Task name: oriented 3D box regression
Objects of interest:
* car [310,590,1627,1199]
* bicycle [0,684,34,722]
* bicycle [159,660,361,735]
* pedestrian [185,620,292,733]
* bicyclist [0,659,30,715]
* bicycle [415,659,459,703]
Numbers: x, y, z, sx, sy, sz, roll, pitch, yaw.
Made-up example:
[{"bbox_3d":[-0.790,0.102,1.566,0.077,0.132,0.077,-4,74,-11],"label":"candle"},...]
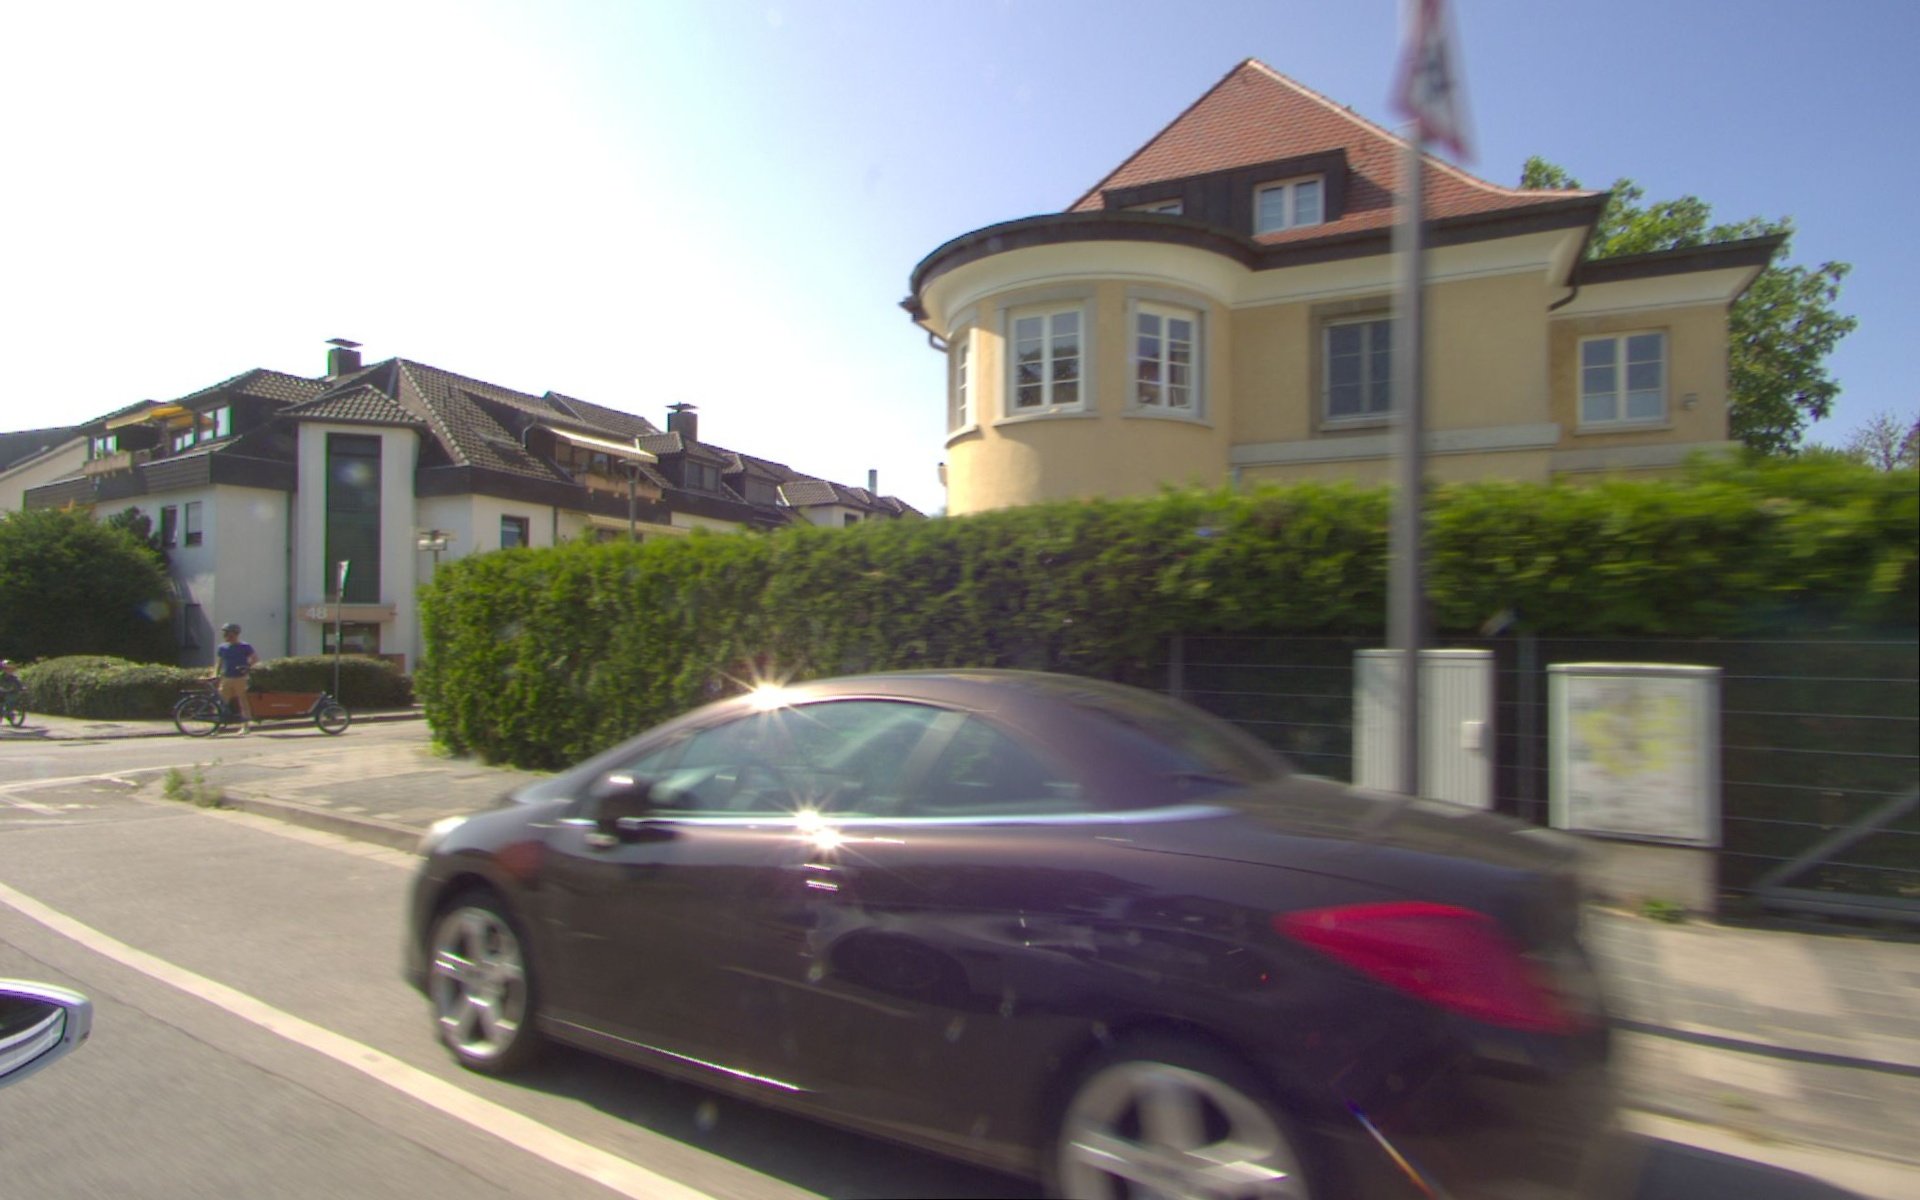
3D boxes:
[{"bbox_3d":[-0.255,0.883,3.561,4.283,1.485,1.736,-2,-6,32],"label":"car"},{"bbox_3d":[-16.748,1.798,17.568,1.156,0.607,0.401,-1,-2,30],"label":"bicycle"},{"bbox_3d":[-11.730,1.617,16.927,2.669,1.173,0.861,1,-2,-25],"label":"bicycle"},{"bbox_3d":[-12.425,1.312,17.284,1.166,1.896,0.902,0,-2,0],"label":"pedestrian"},{"bbox_3d":[-16.696,1.517,17.541,0.648,0.941,0.401,-1,-2,30],"label":"bicyclist"},{"bbox_3d":[-14.725,2.260,28.231,0.620,1.110,1.684,0,0,-10],"label":"bicycle"}]
